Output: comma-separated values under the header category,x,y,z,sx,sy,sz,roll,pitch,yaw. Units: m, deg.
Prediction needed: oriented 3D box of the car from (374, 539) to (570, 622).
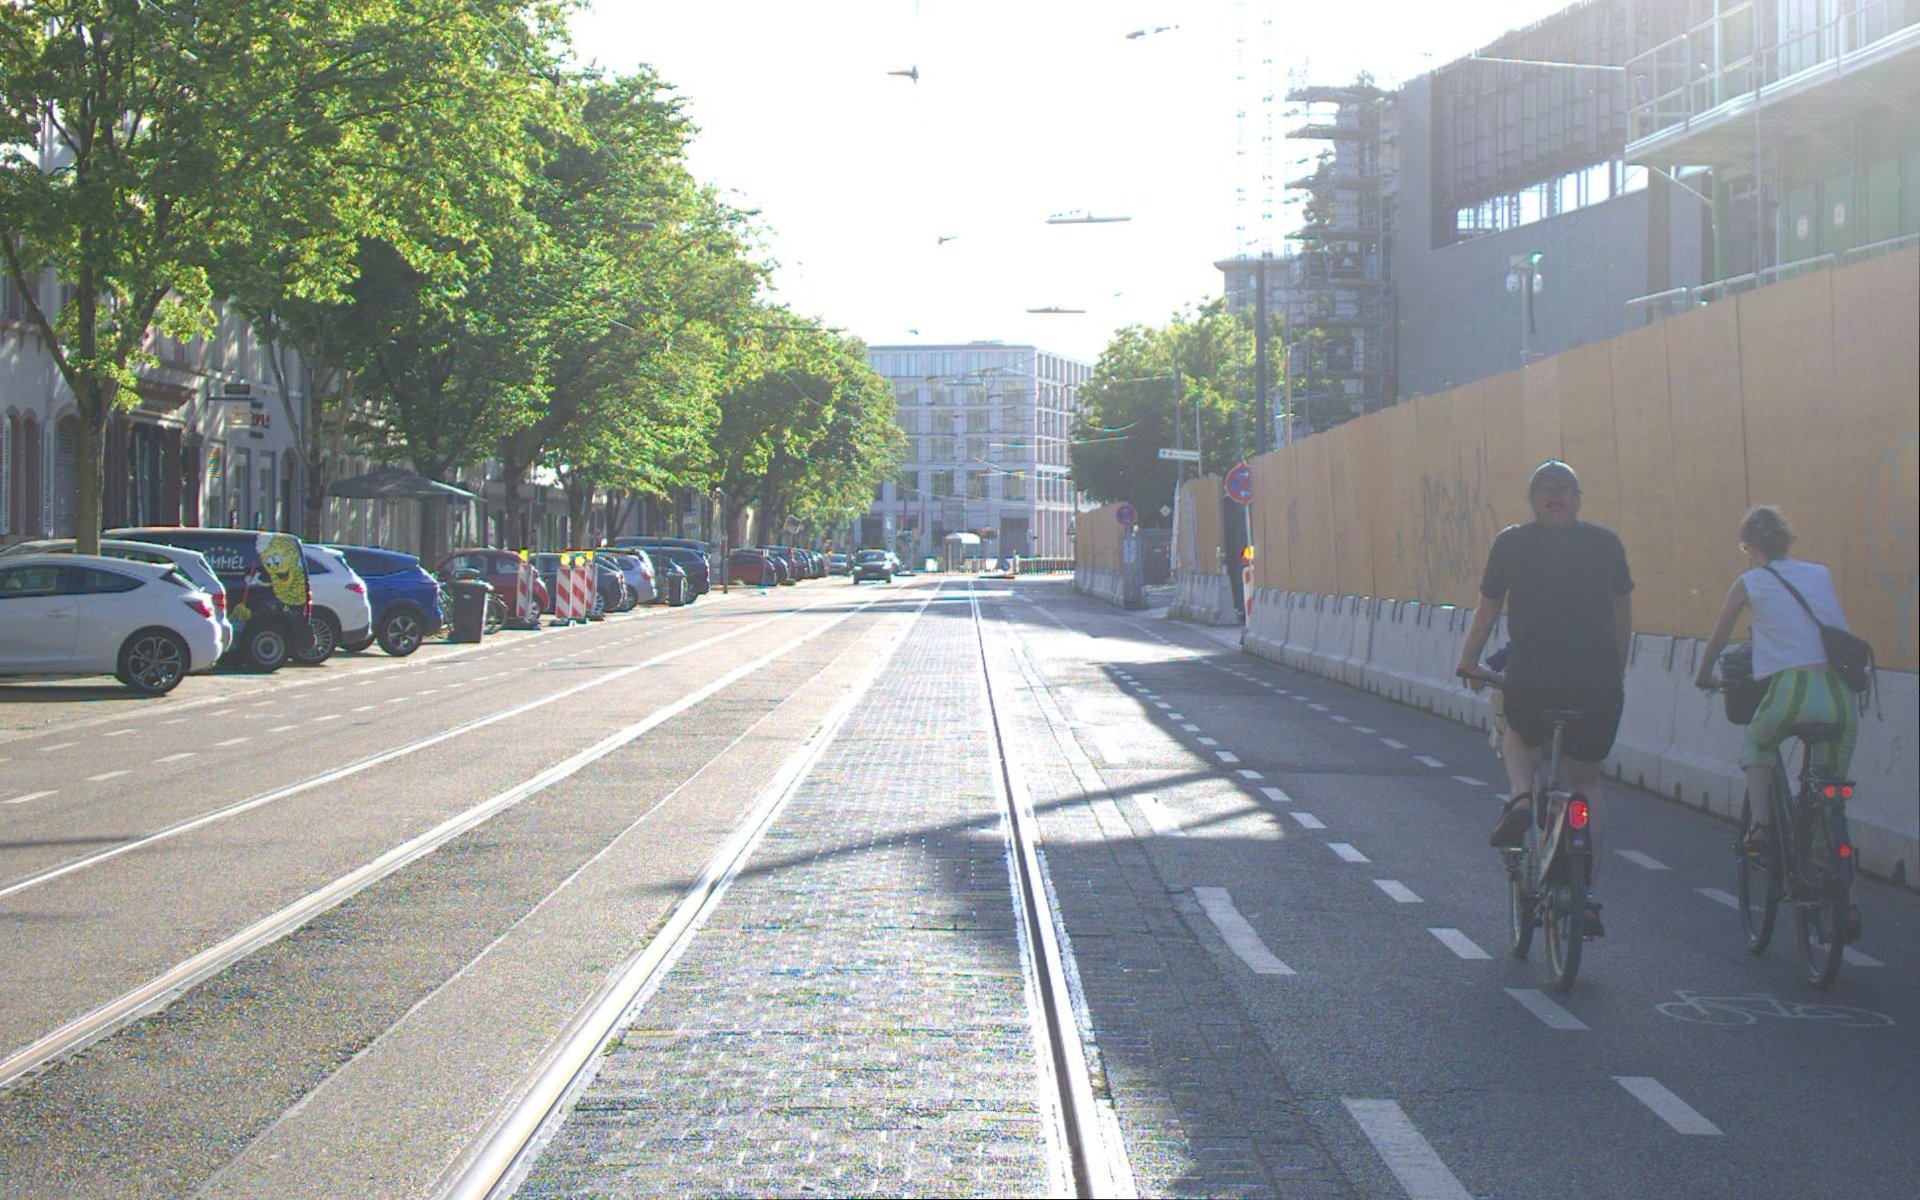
category,x,y,z,sx,sy,sz,roll,pitch,yaw
car,-10.097,-0.400,71.120,3.612,1.548,1.669,2,2,-26

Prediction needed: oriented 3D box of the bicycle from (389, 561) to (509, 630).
category,x,y,z,sx,sy,sz,roll,pitch,yaw
bicycle,-9.226,-0.081,62.107,2.003,1.084,0.567,5,1,3

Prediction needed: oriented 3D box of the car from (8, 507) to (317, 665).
category,x,y,z,sx,sy,sz,roll,pitch,yaw
car,-10.207,-0.143,44.059,3.435,1.837,1.733,2,-3,-35

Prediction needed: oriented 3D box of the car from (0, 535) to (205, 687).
category,x,y,z,sx,sy,sz,roll,pitch,yaw
car,-10.177,0.083,37.273,3.634,1.524,1.887,3,0,-19

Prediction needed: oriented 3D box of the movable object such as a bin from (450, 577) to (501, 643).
category,x,y,z,sx,sy,sz,roll,pitch,yaw
movable object such as a bin,-8.214,0.166,58.339,0.684,1.074,0.710,3,1,2

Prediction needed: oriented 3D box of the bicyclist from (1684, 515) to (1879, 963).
category,x,y,z,sx,sy,sz,roll,pitch,yaw
bicyclist,3.019,0.495,12.668,0.556,1.607,0.576,-1,1,-2

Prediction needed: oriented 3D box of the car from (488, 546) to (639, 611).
category,x,y,z,sx,sy,sz,roll,pitch,yaw
car,-9.956,-0.541,86.283,3.362,1.488,1.613,2,1,-28

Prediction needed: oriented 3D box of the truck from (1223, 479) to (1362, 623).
category,x,y,z,sx,sy,sz,roll,pitch,yaw
truck,7.147,-1.055,74.490,2.520,2.899,5.507,-2,1,2

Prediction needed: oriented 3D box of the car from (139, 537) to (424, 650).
category,x,y,z,sx,sy,sz,roll,pitch,yaw
car,-10.196,-0.119,51.737,3.890,1.603,1.573,-1,1,-36

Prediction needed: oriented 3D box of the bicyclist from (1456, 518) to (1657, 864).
category,x,y,z,sx,sy,sz,roll,pitch,yaw
bicyclist,2.163,0.323,12.488,0.651,1.233,0.353,-1,1,-2

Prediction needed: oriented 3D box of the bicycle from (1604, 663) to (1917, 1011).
category,x,y,z,sx,sy,sz,roll,pitch,yaw
bicycle,2.996,0.843,13.085,0.557,1.123,2.276,-1,1,-2

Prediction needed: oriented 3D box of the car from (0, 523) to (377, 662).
category,x,y,z,sx,sy,sz,roll,pitch,yaw
car,-10.656,-0.116,46.746,4.926,1.788,2.208,0,1,-40

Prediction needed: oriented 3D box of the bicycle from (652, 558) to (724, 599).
category,x,y,z,sx,sy,sz,roll,pitch,yaw
bicycle,-7.871,-0.621,99.402,1.965,1.140,0.493,2,0,-18

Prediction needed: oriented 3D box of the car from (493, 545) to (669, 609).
category,x,y,z,sx,sy,sz,roll,pitch,yaw
car,-9.828,-0.605,89.182,4.103,1.507,1.841,2,1,-26

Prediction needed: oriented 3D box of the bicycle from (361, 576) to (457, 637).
category,x,y,z,sx,sy,sz,roll,pitch,yaw
bicycle,-9.478,0.108,59.104,1.599,0.984,0.389,2,1,-10

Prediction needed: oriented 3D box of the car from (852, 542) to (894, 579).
category,x,y,z,sx,sy,sz,roll,pitch,yaw
car,-4.258,-1.958,169.040,1.927,1.624,4.249,-3,2,-1

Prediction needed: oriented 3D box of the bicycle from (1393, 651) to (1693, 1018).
category,x,y,z,sx,sy,sz,roll,pitch,yaw
bicycle,2.103,0.806,12.700,0.667,1.150,2.276,1,1,-1

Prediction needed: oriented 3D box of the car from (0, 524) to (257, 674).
category,x,y,z,sx,sy,sz,roll,pitch,yaw
car,-10.749,-0.039,41.514,3.986,1.651,1.811,2,1,-30

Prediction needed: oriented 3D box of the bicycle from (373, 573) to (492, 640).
category,x,y,z,sx,sy,sz,roll,pitch,yaw
bicycle,-9.325,0.116,60.783,1.968,1.075,0.568,3,1,3
